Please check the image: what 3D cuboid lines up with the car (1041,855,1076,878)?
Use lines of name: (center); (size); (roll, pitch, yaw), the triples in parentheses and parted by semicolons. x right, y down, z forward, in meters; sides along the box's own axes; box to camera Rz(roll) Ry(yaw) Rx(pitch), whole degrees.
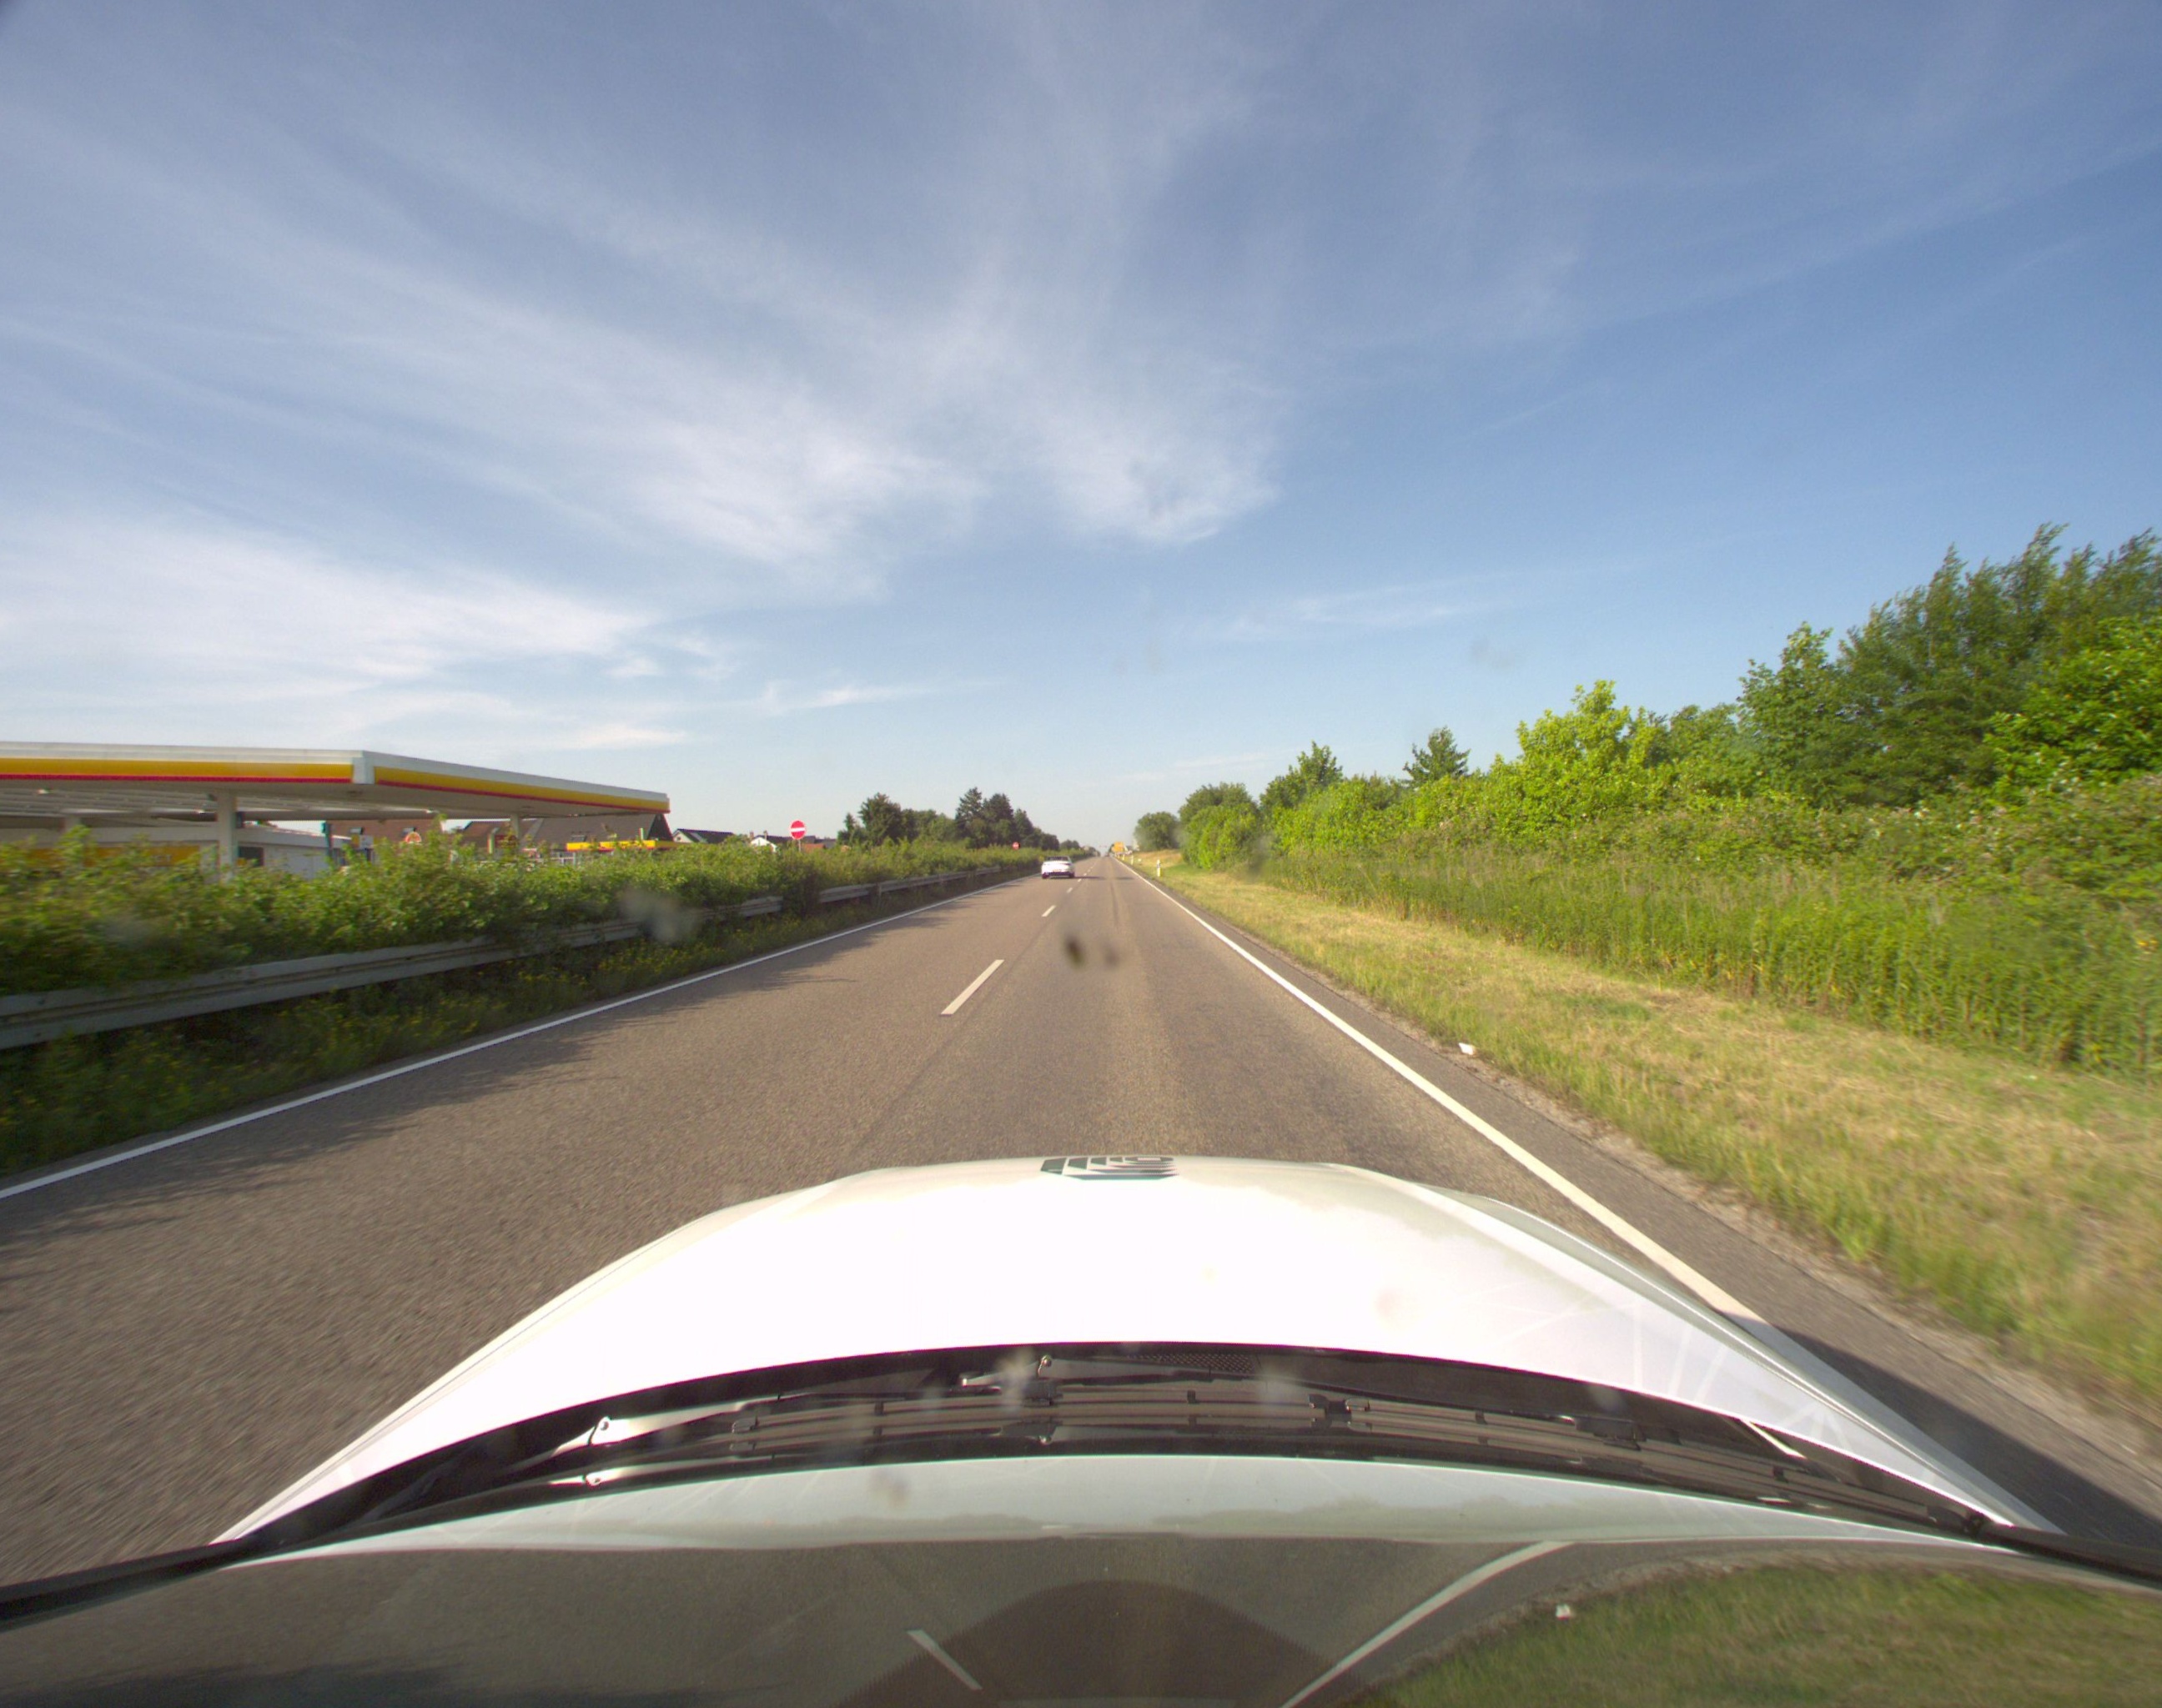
car: (-1.313, 0.745, 49.674); (1.764, 1.337, 4.952); (0, 0, 2)
